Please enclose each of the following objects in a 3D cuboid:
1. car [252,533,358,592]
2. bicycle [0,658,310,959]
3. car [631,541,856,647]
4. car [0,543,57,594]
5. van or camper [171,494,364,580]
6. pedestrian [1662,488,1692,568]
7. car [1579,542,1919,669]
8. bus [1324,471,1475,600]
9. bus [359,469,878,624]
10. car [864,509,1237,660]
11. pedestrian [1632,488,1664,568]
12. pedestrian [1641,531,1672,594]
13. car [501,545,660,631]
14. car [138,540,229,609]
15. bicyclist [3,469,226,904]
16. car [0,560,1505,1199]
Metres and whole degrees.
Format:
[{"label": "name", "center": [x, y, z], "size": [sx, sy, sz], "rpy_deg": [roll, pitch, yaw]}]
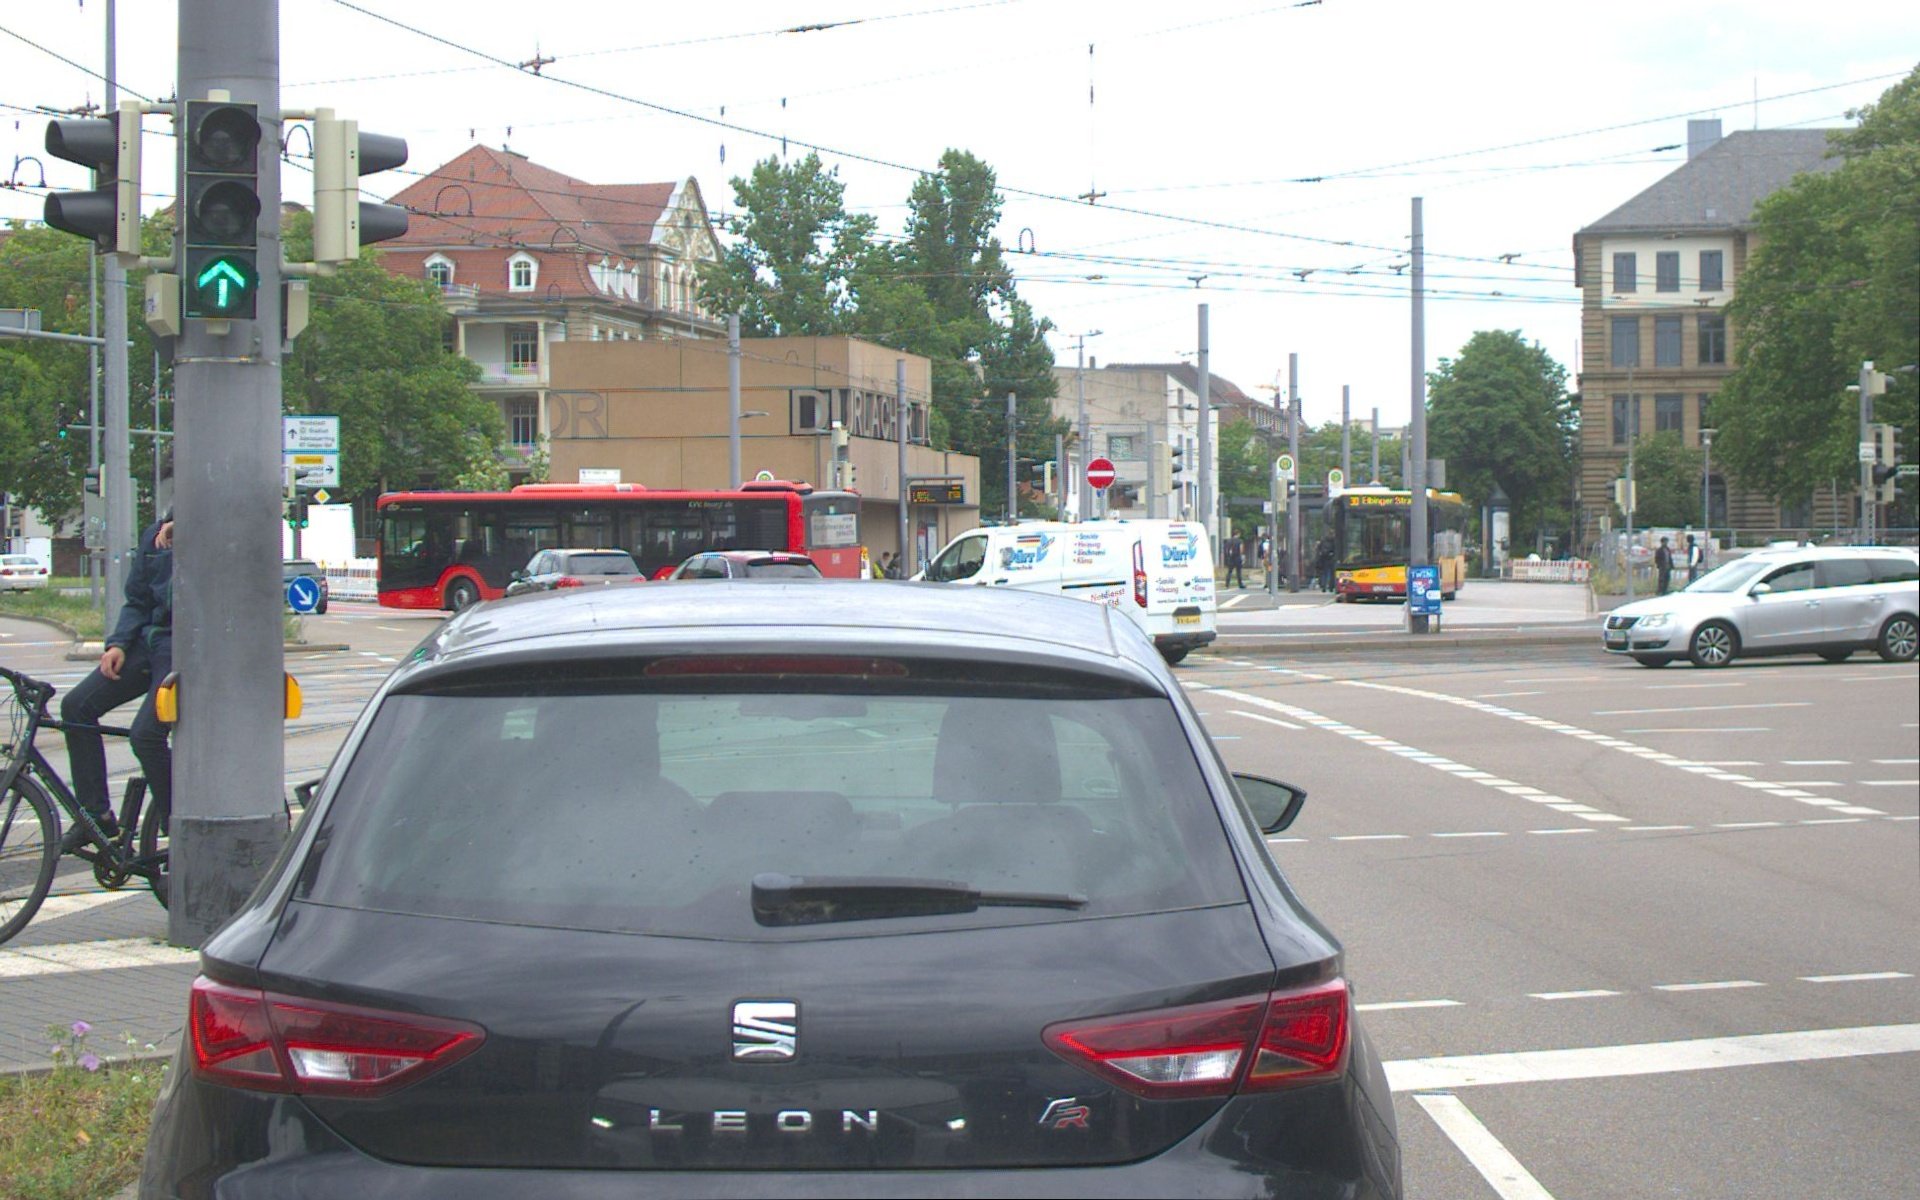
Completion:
[{"label": "car", "center": [-17.368, -1.005, 91.013], "size": [1.993, 1.534, 4.001], "rpy_deg": [-1, 1, -22]}, {"label": "bicycle", "center": [-3.360, 0.787, 13.255], "size": [1.609, 1.066, 0.528], "rpy_deg": [-1, 1, -40]}, {"label": "car", "center": [-3.490, -0.126, 54.753], "size": [1.858, 1.595, 4.205], "rpy_deg": [-1, 1, -31]}, {"label": "car", "center": [-33.054, -1.113, 120.267], "size": [1.993, 1.744, 4.001], "rpy_deg": [-1, 1, -27]}, {"label": "van or camper", "center": [-27.805, -2.542, 138.303], "size": [7.134, 3.321, 2.875], "rpy_deg": [-2, 0, -45]}, {"label": "pedestrian", "center": [38.091, -3.829, 182.567], "size": [1.307, 4.239, 1.347], "rpy_deg": [0, 1, 0]}, {"label": "car", "center": [10.519, 0.047, 44.503], "size": [4.612, 1.477, 1.726], "rpy_deg": [-2, 1, -16]}, {"label": "bus", "center": [12.146, -1.752, 93.976], "size": [3.018, 3.256, 13.036], "rpy_deg": [0, 1, 12]}, {"label": "bus", "center": [-7.853, -1.175, 77.615], "size": [12.361, 3.286, 3.063], "rpy_deg": [0, 1, 32]}, {"label": "car", "center": [1.220, -0.237, 47.954], "size": [5.027, 2.012, 1.995], "rpy_deg": [0, 1, 39]}, {"label": "pedestrian", "center": [36.525, -3.821, 182.538], "size": [1.387, 4.239, 1.347], "rpy_deg": [0, 1, 0]}, {"label": "pedestrian", "center": [20.611, -1.110, 101.777], "size": [0.824, 1.847, 1.020], "rpy_deg": [0, 1, 16]}, {"label": "car", "center": [-7.249, -0.264, 65.342], "size": [1.993, 1.560, 4.206], "rpy_deg": [-1, 1, -21]}, {"label": "car", "center": [-23.297, -0.791, 103.040], "size": [1.993, 2.007, 4.001], "rpy_deg": [-1, 1, -22]}, {"label": "bicyclist", "center": [-3.277, 0.318, 13.325], "size": [0.653, 1.633, 0.517], "rpy_deg": [-1, 1, -40]}, {"label": "car", "center": [-0.271, 0.677, 5.971], "size": [1.746, 1.459, 4.000], "rpy_deg": [0, 1, -1]}]
